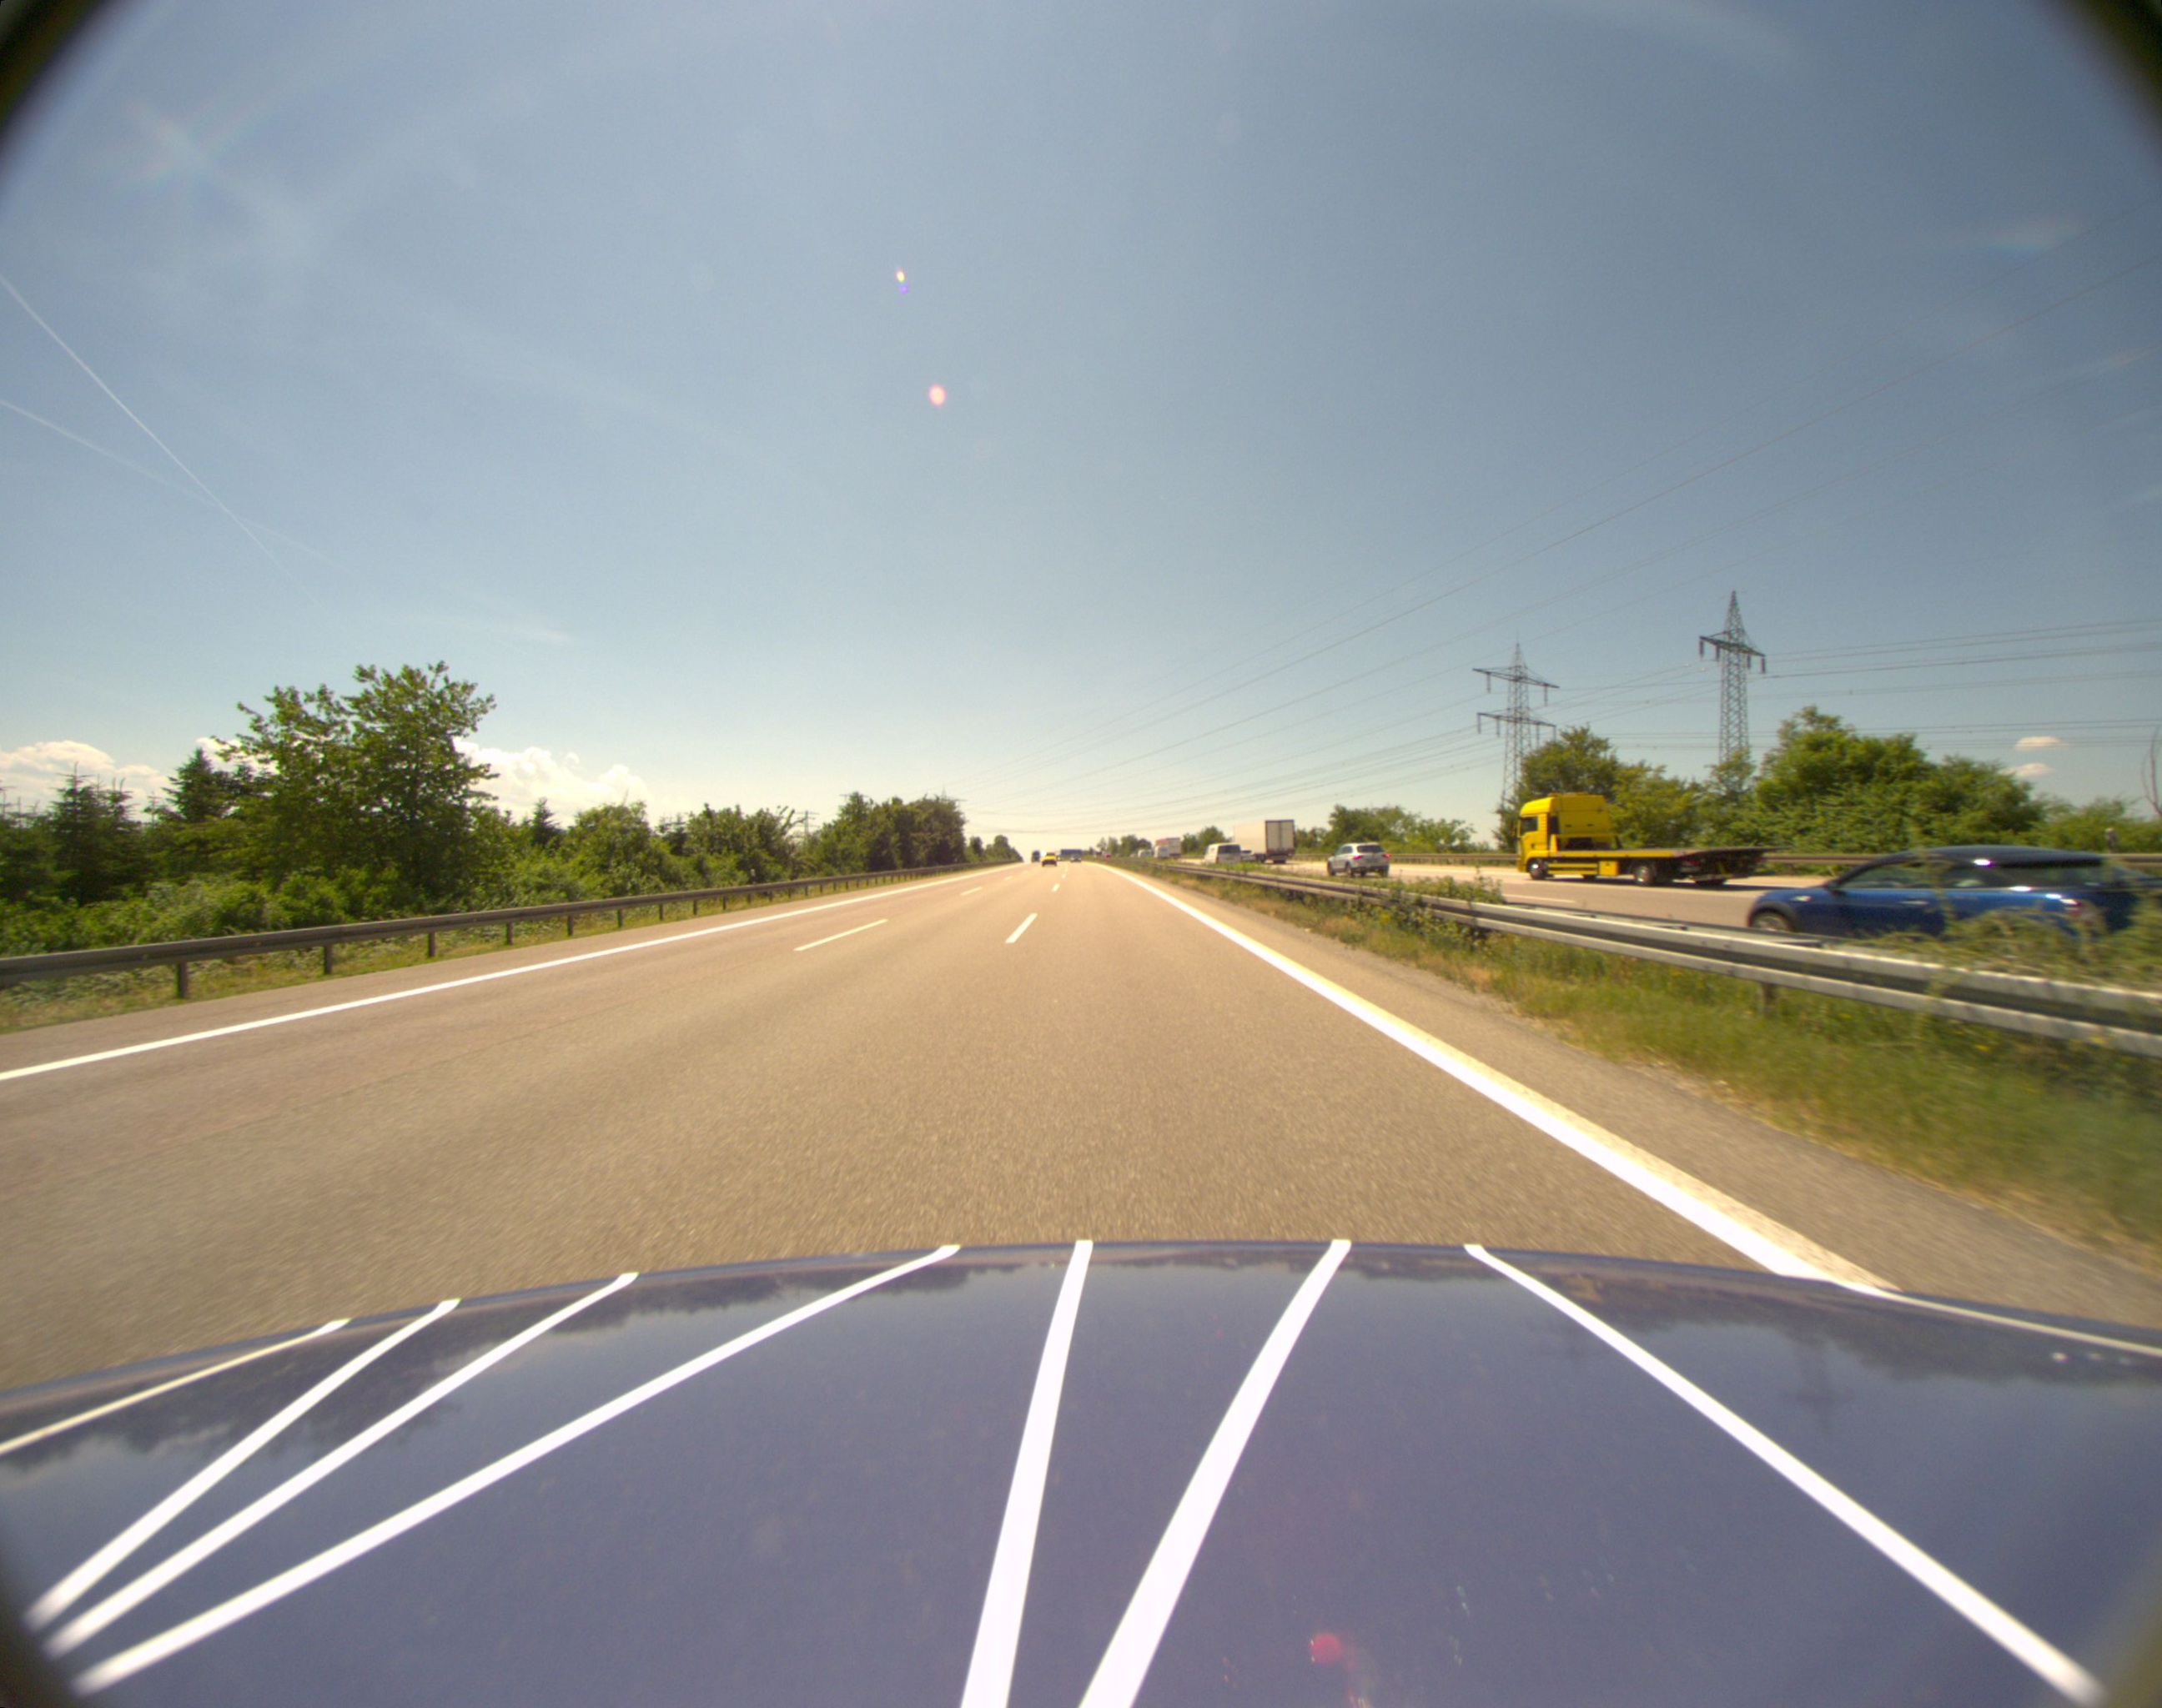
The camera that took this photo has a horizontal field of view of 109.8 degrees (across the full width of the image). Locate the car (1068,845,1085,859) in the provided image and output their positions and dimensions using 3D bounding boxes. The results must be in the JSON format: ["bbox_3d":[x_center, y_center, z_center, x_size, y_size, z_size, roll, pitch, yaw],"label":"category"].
[{"bbox_3d":[-0.863,-0.323,138.530,2.687,2.509,5.966,-1,-1,-4],"label":"car"}]

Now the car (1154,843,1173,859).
[{"bbox_3d":[13.122,-0.459,121.197,1.999,2.456,6.489,-2,0,-2],"label":"car"}]

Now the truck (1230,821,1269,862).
[{"bbox_3d":[17.806,-1.287,80.712,2.838,4.057,5.166,-2,-1,-1],"label":"truck"}]

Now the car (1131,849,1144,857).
[{"bbox_3d":[11.542,-0.182,154.888,1.999,1.319,4.771,-2,-1,-3],"label":"car"}]

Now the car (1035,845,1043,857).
[{"bbox_3d":[-13.947,-0.931,251.306,2.687,3.723,6.269,-1,-1,-4],"label":"car"}]

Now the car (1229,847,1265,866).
[{"bbox_3d":[14.121,0.178,64.887,1.999,1.539,4.726,-2,0,-1],"label":"car"}]

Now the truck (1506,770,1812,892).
[{"bbox_3d":[17.884,-0.625,24.781,2.528,3.133,9.666,-2,0,-1],"label":"truck"}]

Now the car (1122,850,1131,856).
[{"bbox_3d":[11.645,-0.255,194.678,1.999,1.663,4.928,-2,0,-2],"label":"car"}]

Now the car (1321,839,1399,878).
[{"bbox_3d":[13.553,0.190,37.259,1.998,1.726,4.814,-2,0,0],"label":"car"}]

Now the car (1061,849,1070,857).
[{"bbox_3d":[-5.339,-0.361,257.607,2.687,2.509,5.966,-1,-1,-4],"label":"car"}]

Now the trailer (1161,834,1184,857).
[{"bbox_3d":[17.018,-1.473,141.961,2.513,4.018,13.587,-2,-1,0],"label":"trailer"}]

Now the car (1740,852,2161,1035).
[{"bbox_3d":[9.224,0.692,7.784,1.635,1.346,3.828,-2,0,0],"label":"car"}]

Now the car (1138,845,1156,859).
[{"bbox_3d":[9.393,-0.261,108.512,1.999,1.928,5.337,-2,-1,-1],"label":"car"}]

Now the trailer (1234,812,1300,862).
[{"bbox_3d":[17.854,-1.464,74.237,2.842,4.232,13.638,-2,-1,-1],"label":"trailer"}]

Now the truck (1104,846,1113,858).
[{"bbox_3d":[9.704,-0.679,268.909,2.460,3.952,9.670,0,-1,-3],"label":"truck"}]

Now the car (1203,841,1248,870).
[{"bbox_3d":[9.864,0.081,52.267,1.998,1.871,5.721,-2,0,0],"label":"car"}]

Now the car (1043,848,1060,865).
[{"bbox_3d":[-3.865,0.344,98.812,1.956,2.001,5.432,-1,-1,-4],"label":"car"}]
